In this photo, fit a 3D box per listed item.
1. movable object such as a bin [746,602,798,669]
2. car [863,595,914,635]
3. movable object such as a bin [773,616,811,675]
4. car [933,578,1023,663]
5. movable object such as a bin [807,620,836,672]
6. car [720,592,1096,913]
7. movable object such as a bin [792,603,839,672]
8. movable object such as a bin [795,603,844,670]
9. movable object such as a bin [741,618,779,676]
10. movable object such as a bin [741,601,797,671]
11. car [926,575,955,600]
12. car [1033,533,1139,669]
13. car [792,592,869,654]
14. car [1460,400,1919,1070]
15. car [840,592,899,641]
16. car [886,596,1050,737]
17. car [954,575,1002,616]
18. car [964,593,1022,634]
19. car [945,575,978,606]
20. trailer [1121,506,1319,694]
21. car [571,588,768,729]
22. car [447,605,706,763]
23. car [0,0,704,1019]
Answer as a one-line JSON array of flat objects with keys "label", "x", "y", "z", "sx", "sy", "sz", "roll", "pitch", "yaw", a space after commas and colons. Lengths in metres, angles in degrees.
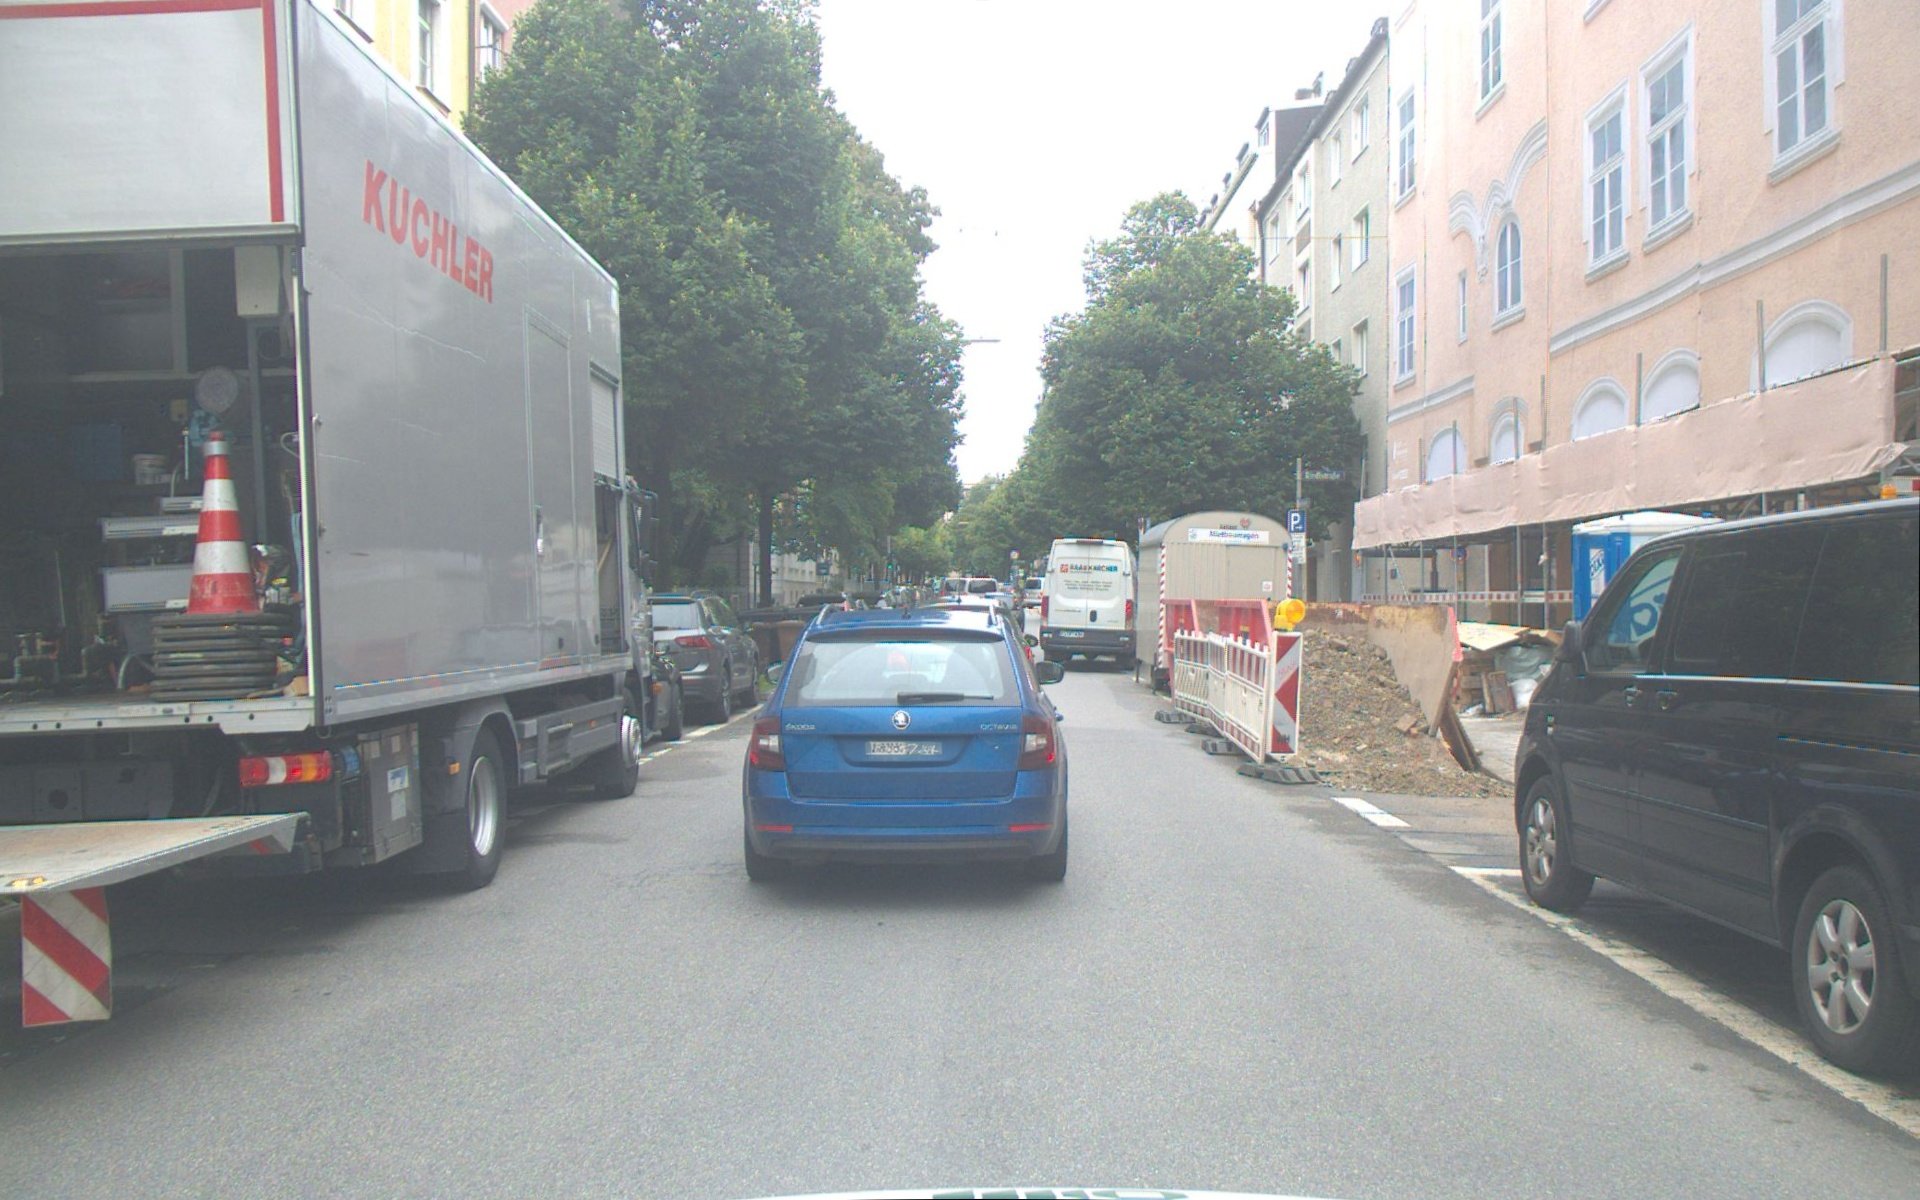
[{"label": "movable object such as a bin", "x": -4.105, "y": 0.775, "z": 36.239, "sx": 1.036, "sy": 1.400, "sz": 1.095, "roll": -2, "pitch": 0, "yaw": -4}, {"label": "car", "x": -2.817, "y": 0.577, "z": 65.814, "sx": 1.775, "sy": 1.504, "sz": 4.000, "roll": 1, "pitch": 0, "yaw": 1}, {"label": "movable object such as a bin", "x": -3.481, "y": 0.940, "z": 34.305, "sx": 0.697, "sy": 1.168, "sz": 0.636, "roll": -2, "pitch": 0, "yaw": -3}, {"label": "car", "x": 0.371, "y": 0.402, "z": 36.334, "sx": 1.829, "sy": 1.726, "sz": 4.347, "roll": 1, "pitch": 1, "yaw": 0}, {"label": "movable object such as a bin", "x": -2.875, "y": 0.960, "z": 34.364, "sx": 0.535, "sy": 1.038, "sz": 0.636, "roll": -2, "pitch": 0, "yaw": -3}, {"label": "car", "x": -0.235, "y": 0.715, "z": 9.906, "sx": 1.752, "sy": 1.486, "sz": 4.314, "roll": 0, "pitch": 0, "yaw": 0}, {"label": "movable object such as a bin", "x": -3.069, "y": 0.785, "z": 35.219, "sx": 0.900, "sy": 1.400, "sz": 1.079, "roll": -2, "pitch": 0, "yaw": -3}, {"label": "movable object such as a bin", "x": -3.070, "y": 0.797, "z": 36.318, "sx": 1.000, "sy": 1.400, "sz": 1.103, "roll": -2, "pitch": 0, "yaw": -4}, {"label": "movable object such as a bin", "x": -4.135, "y": 0.964, "z": 34.252, "sx": 0.706, "sy": 1.158, "sz": 0.658, "roll": -2, "pitch": 0, "yaw": -3}, {"label": "movable object such as a bin", "x": -4.046, "y": 0.753, "z": 35.139, "sx": 1.060, "sy": 1.400, "sz": 1.083, "roll": -2, "pitch": 0, "yaw": -4}, {"label": "car", "x": -1.420, "y": -0.919, "z": 118.328, "sx": 1.967, "sy": 1.682, "sz": 4.346, "roll": 1, "pitch": 1, "yaw": -2}, {"label": "car", "x": 2.859, "y": 0.036, "z": 36.399, "sx": 2.068, "sy": 2.710, "sz": 5.504, "roll": 1, "pitch": 0, "yaw": 6}, {"label": "car", "x": -3.323, "y": 0.563, "z": 43.041, "sx": 1.775, "sy": 1.504, "sz": 3.999, "roll": 1, "pitch": 0, "yaw": -1}, {"label": "car", "x": 3.890, "y": 0.505, "z": 7.129, "sx": 2.039, "sy": 1.955, "sz": 5.141, "roll": 1, "pitch": -2, "yaw": 2}, {"label": "car", "x": -2.905, "y": 0.507, "z": 53.772, "sx": 1.775, "sy": 1.504, "sz": 3.999, "roll": 1, "pitch": 0, "yaw": -1}, {"label": "car", "x": 0.115, "y": 0.706, "z": 19.202, "sx": 1.705, "sy": 1.446, "sz": 3.664, "roll": 1, "pitch": 0, "yaw": 1}, {"label": "car", "x": 0.849, "y": -0.242, "z": 80.679, "sx": 1.832, "sy": 1.902, "sz": 4.341, "roll": 1, "pitch": 1, "yaw": -7}, {"label": "car", "x": 1.158, "y": 0.473, "z": 60.170, "sx": 1.830, "sy": 1.371, "sz": 4.345, "roll": 1, "pitch": 1, "yaw": -2}, {"label": "car", "x": 0.062, "y": -0.573, "z": 95.435, "sx": 1.829, "sy": 1.682, "sz": 4.346, "roll": 1, "pitch": 1, "yaw": -1}, {"label": "trailer", "x": 4.391, "y": 0.023, "z": 29.297, "sx": 2.451, "sy": 2.889, "sz": 6.901, "roll": 1, "pitch": 0, "yaw": 1}, {"label": "car", "x": -3.731, "y": 0.687, "z": 21.909, "sx": 1.748, "sy": 1.657, "sz": 4.186, "roll": -1, "pitch": 0, "yaw": 1}, {"label": "car", "x": -3.827, "y": 0.783, "z": 17.101, "sx": 1.664, "sy": 1.434, "sz": 3.709, "roll": -1, "pitch": 0, "yaw": 2}, {"label": "car", "x": -3.671, "y": -0.447, "z": 10.243, "sx": 2.755, "sy": 3.884, "sz": 8.723, "roll": 0, "pitch": 0, "yaw": 0}]
